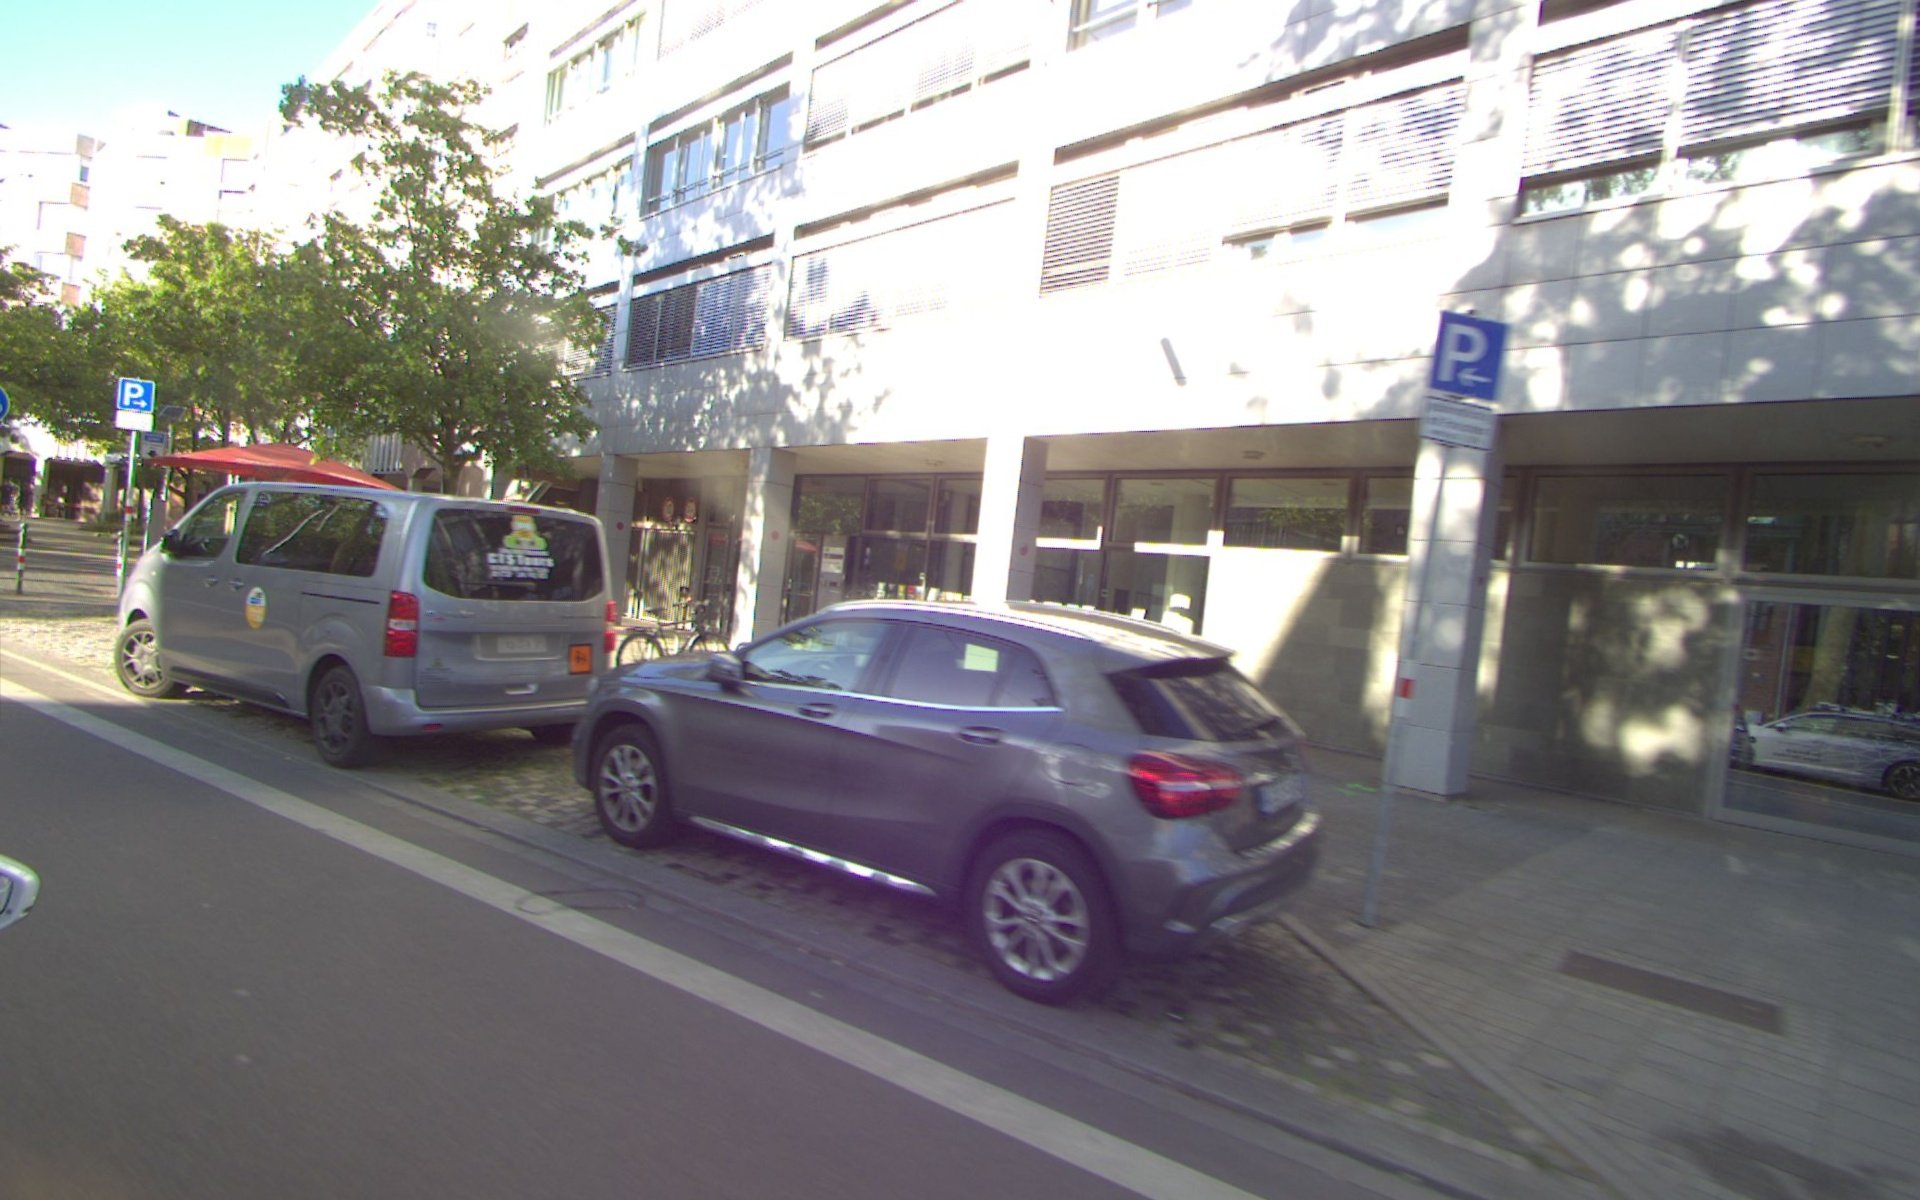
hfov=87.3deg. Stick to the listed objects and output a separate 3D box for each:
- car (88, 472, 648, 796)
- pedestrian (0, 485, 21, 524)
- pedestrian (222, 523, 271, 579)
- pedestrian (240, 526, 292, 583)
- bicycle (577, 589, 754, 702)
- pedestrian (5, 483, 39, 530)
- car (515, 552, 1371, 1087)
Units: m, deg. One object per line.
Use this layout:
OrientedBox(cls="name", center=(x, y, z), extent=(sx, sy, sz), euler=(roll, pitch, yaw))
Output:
OrientedBox(cls="car", center=(-5.009, 0.071, 8.260), extent=(4.844, 1.868, 1.922), euler=(6, 3, 32))
OrientedBox(cls="pedestrian", center=(-49.043, -4.917, 51.679), extent=(1.043, 1.907, 0.867), euler=(7, 1, 37))
OrientedBox(cls="pedestrian", center=(-21.799, -1.508, 30.751), extent=(0.979, 1.566, 0.869), euler=(7, 1, 38))
OrientedBox(cls="pedestrian", center=(-20.717, -1.355, 30.027), extent=(0.978, 1.566, 0.870), euler=(7, 1, 35))
OrientedBox(cls="bicycle", center=(-3.302, 0.533, 11.459), extent=(0.728, 1.115, 1.870), euler=(7, 0, 29))
OrientedBox(cls="pedestrian", center=(-43.156, -4.302, 46.297), extent=(0.868, 2.039, 0.866), euler=(7, 1, 35))
OrientedBox(cls="car", center=(-0.326, 0.734, 5.503), extent=(4.346, 1.594, 1.857), euler=(7, 3, 35))
